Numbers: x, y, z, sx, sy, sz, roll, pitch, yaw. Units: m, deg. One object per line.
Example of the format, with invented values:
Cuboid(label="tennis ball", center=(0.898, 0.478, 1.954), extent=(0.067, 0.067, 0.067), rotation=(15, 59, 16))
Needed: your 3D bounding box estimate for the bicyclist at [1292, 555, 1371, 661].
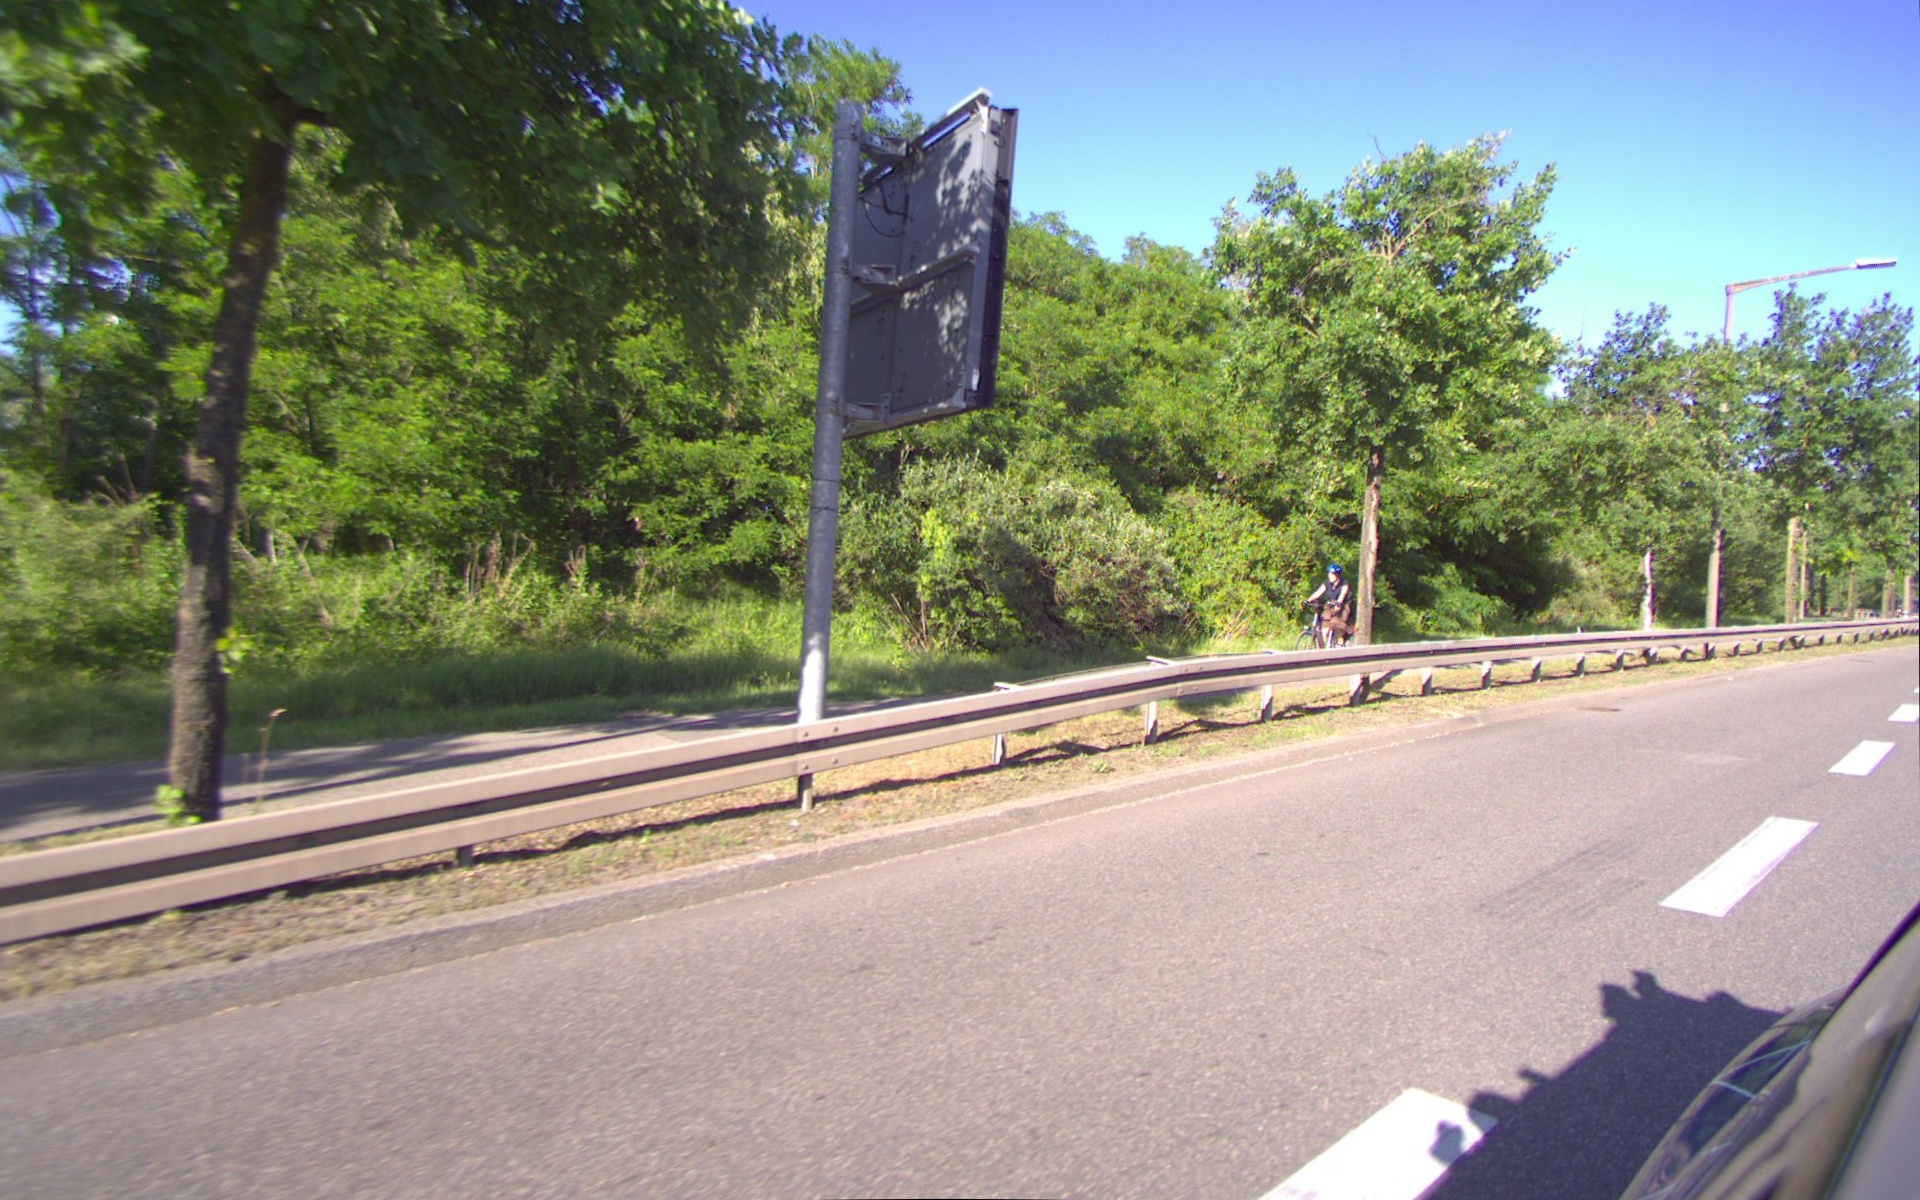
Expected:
Cuboid(label="bicyclist", center=(5.887, 0.114, 16.039), extent=(0.987, 1.597, 0.709), rotation=(1, 2, -40))

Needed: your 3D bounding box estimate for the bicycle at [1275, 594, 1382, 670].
Cuboid(label="bicycle", center=(5.862, 0.490, 16.049), extent=(1.887, 1.087, 0.702), rotation=(1, 3, -41))

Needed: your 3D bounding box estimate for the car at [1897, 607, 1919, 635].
Cuboid(label="car", center=(62.421, 1.431, 65.838), extent=(1.993, 1.738, 4.206), rotation=(2, 0, 42))
